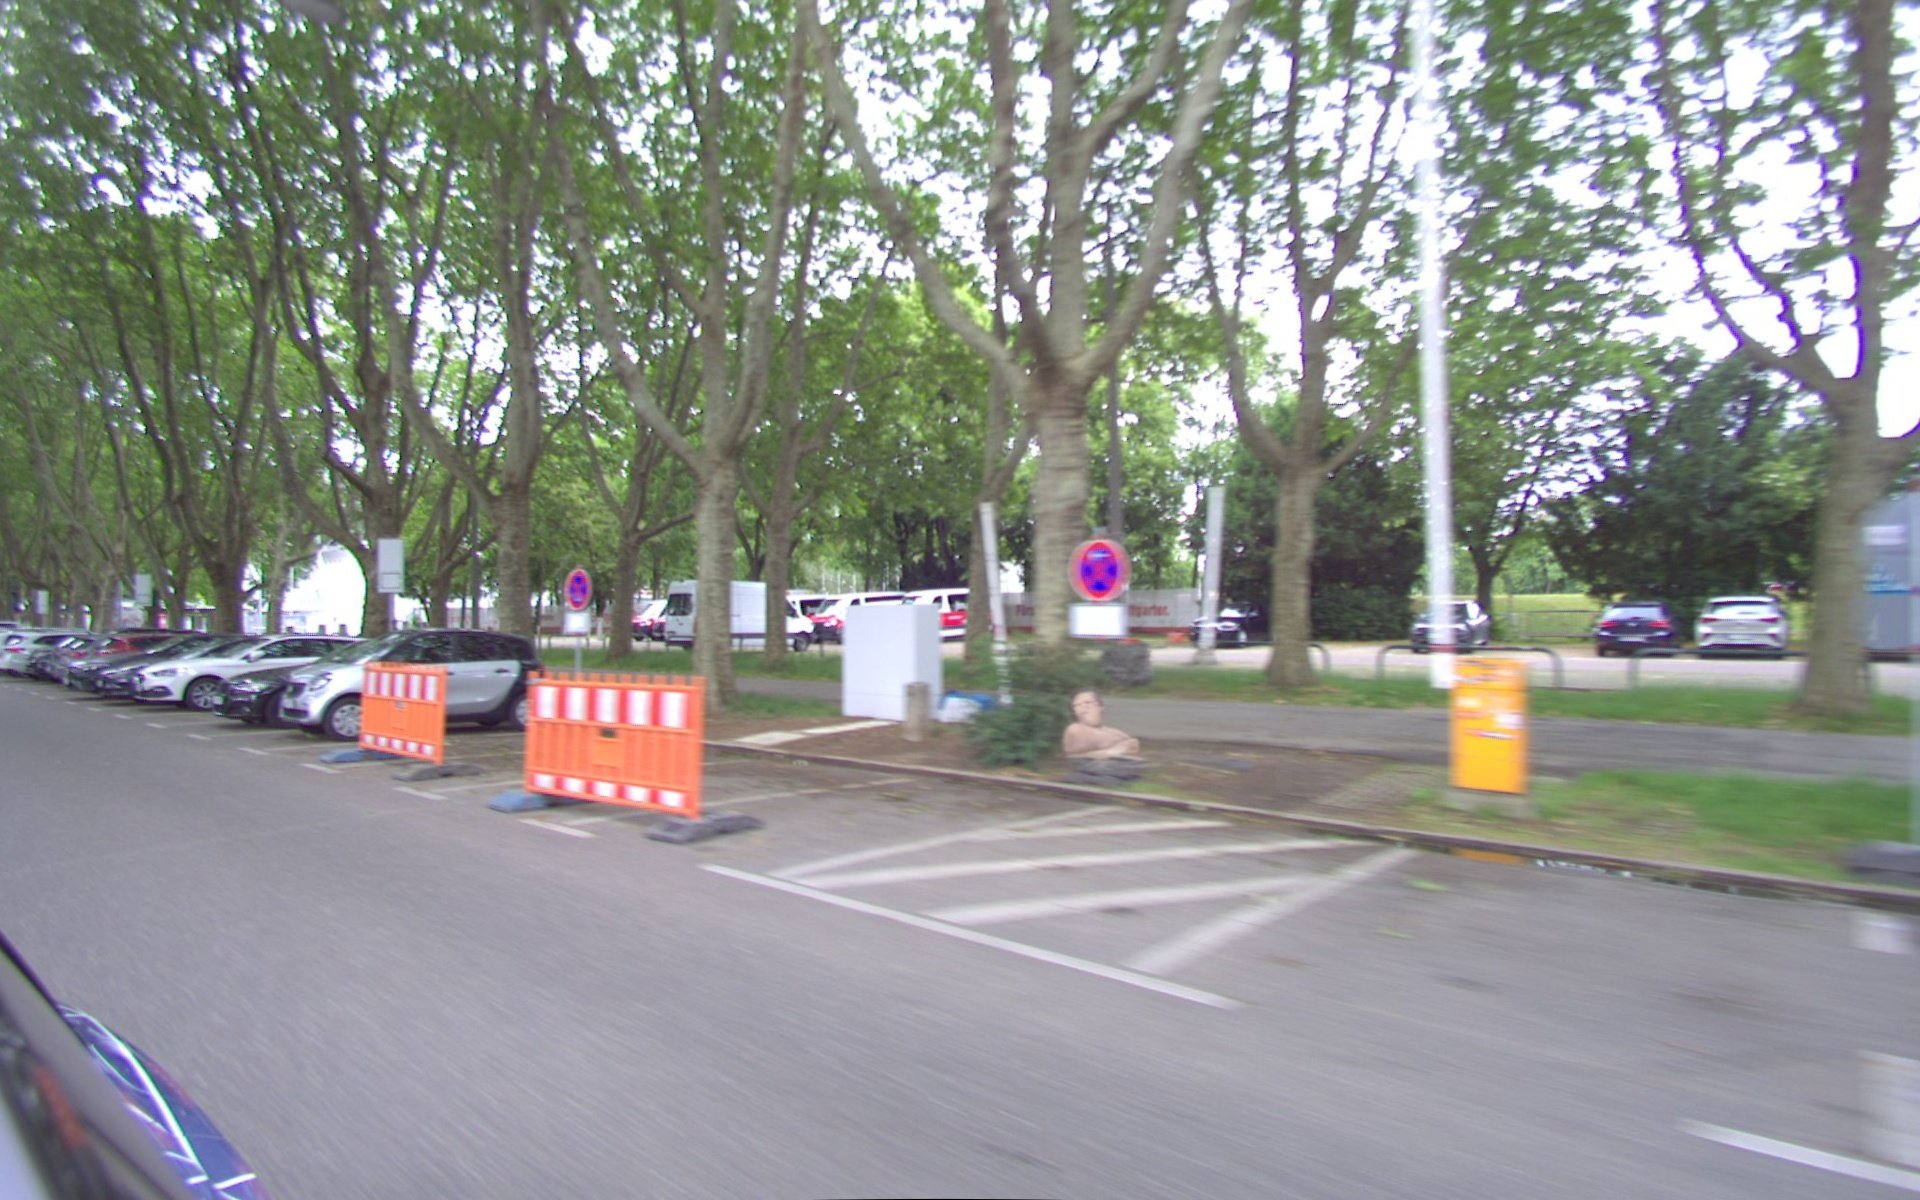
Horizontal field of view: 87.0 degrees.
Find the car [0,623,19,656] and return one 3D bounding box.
[{"bbox_3d":[-56.861,2.336,57.419,1.997,1.842,4.860,-4,-2,37],"label":"car"}]

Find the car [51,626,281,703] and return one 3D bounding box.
[{"bbox_3d":[-17.774,1.409,22.778,1.847,1.581,3.797,-2,-3,42],"label":"car"}]

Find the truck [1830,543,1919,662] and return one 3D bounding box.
[{"bbox_3d":[22.321,0.042,24.304,2.121,2.628,3.945,-1,0,41],"label":"truck"}]

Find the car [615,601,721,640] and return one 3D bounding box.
[{"bbox_3d":[-16.489,1.122,57.403,2.390,2.036,5.400,-1,0,38],"label":"car"}]

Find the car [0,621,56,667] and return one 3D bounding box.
[{"bbox_3d":[-40.118,1.868,41.483,4.431,1.764,2.001,-3,1,-45],"label":"car"}]

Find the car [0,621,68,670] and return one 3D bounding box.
[{"bbox_3d":[-37.222,1.807,38.771,4.431,1.764,2.001,-3,1,-45],"label":"car"}]

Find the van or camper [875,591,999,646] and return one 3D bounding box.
[{"bbox_3d":[-0.935,0.775,44.954,2.328,2.272,5.647,-1,0,40],"label":"van or camper"}]

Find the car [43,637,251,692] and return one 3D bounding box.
[{"bbox_3d":[-21.114,1.662,26.381,2.000,1.320,3.943,-3,-4,42],"label":"car"}]

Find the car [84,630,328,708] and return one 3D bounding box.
[{"bbox_3d":[-15.762,1.408,21.285,1.847,1.486,3.797,-2,-3,42],"label":"car"}]

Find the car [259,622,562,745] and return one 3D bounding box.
[{"bbox_3d":[-8.035,1.158,15.003,1.847,1.590,3.518,-2,-3,42],"label":"car"}]

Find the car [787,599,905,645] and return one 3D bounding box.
[{"bbox_3d":[-5.301,0.988,47.718,2.473,2.013,5.400,-1,0,38],"label":"car"}]

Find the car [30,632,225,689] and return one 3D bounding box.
[{"bbox_3d":[-23.182,1.673,28.285,2.000,1.482,3.943,-3,-4,42],"label":"car"}]

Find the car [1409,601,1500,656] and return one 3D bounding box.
[{"bbox_3d":[15.038,0.819,30.671,1.797,1.498,3.951,-1,0,36],"label":"car"}]

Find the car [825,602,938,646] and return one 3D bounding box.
[{"bbox_3d":[-3.483,1.039,45.977,1.997,1.864,5.400,-1,0,38],"label":"car"}]

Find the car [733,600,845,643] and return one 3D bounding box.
[{"bbox_3d":[-8.560,1.035,51.151,2.390,2.036,5.400,-1,0,38],"label":"car"}]

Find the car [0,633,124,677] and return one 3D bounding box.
[{"bbox_3d":[-31.149,1.860,34.416,2.000,1.442,3.943,-3,-4,42],"label":"car"}]

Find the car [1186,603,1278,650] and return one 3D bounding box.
[{"bbox_3d":[9.552,0.890,35.319,1.797,1.498,3.951,-1,0,36],"label":"car"}]

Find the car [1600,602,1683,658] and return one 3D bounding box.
[{"bbox_3d":[18.678,0.769,27.670,1.727,1.387,3.967,-1,0,36],"label":"car"}]

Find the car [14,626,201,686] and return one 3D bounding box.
[{"bbox_3d":[-25.082,1.645,29.880,2.000,1.641,3.975,-3,-4,42],"label":"car"}]

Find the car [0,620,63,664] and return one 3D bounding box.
[{"bbox_3d":[-41.499,1.862,43.356,4.431,1.764,2.001,-3,1,-45],"label":"car"}]

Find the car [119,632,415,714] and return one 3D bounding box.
[{"bbox_3d":[-13.717,1.396,20.245,2.090,1.445,4.515,-2,-3,42],"label":"car"}]

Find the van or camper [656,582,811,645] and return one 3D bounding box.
[{"bbox_3d":[-8.104,0.444,36.651,2.241,2.115,5.234,-1,0,38],"label":"van or camper"}]

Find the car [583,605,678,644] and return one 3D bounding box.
[{"bbox_3d":[-19.744,1.416,60.810,1.997,2.159,5.201,-1,0,38],"label":"car"}]

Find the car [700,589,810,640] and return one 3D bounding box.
[{"bbox_3d":[-10.623,0.706,52.888,2.390,2.535,5.400,-1,0,38],"label":"car"}]

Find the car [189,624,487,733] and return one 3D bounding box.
[{"bbox_3d":[-10.001,1.211,16.487,1.675,1.550,3.797,-2,-3,42],"label":"car"}]

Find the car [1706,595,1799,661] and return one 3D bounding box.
[{"bbox_3d":[20.259,0.664,25.875,1.731,1.519,3.948,-1,0,39],"label":"car"}]

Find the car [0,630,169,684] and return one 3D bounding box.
[{"bbox_3d":[-26.986,1.735,31.074,1.799,1.539,3.986,-3,-4,42],"label":"car"}]

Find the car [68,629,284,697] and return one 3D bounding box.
[{"bbox_3d":[-19.329,1.524,25.078,1.873,1.525,3.943,-2,-3,42],"label":"car"}]

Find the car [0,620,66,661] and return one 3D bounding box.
[{"bbox_3d":[-43.723,1.888,46.061,4.431,1.764,2.001,-3,1,-45],"label":"car"}]
